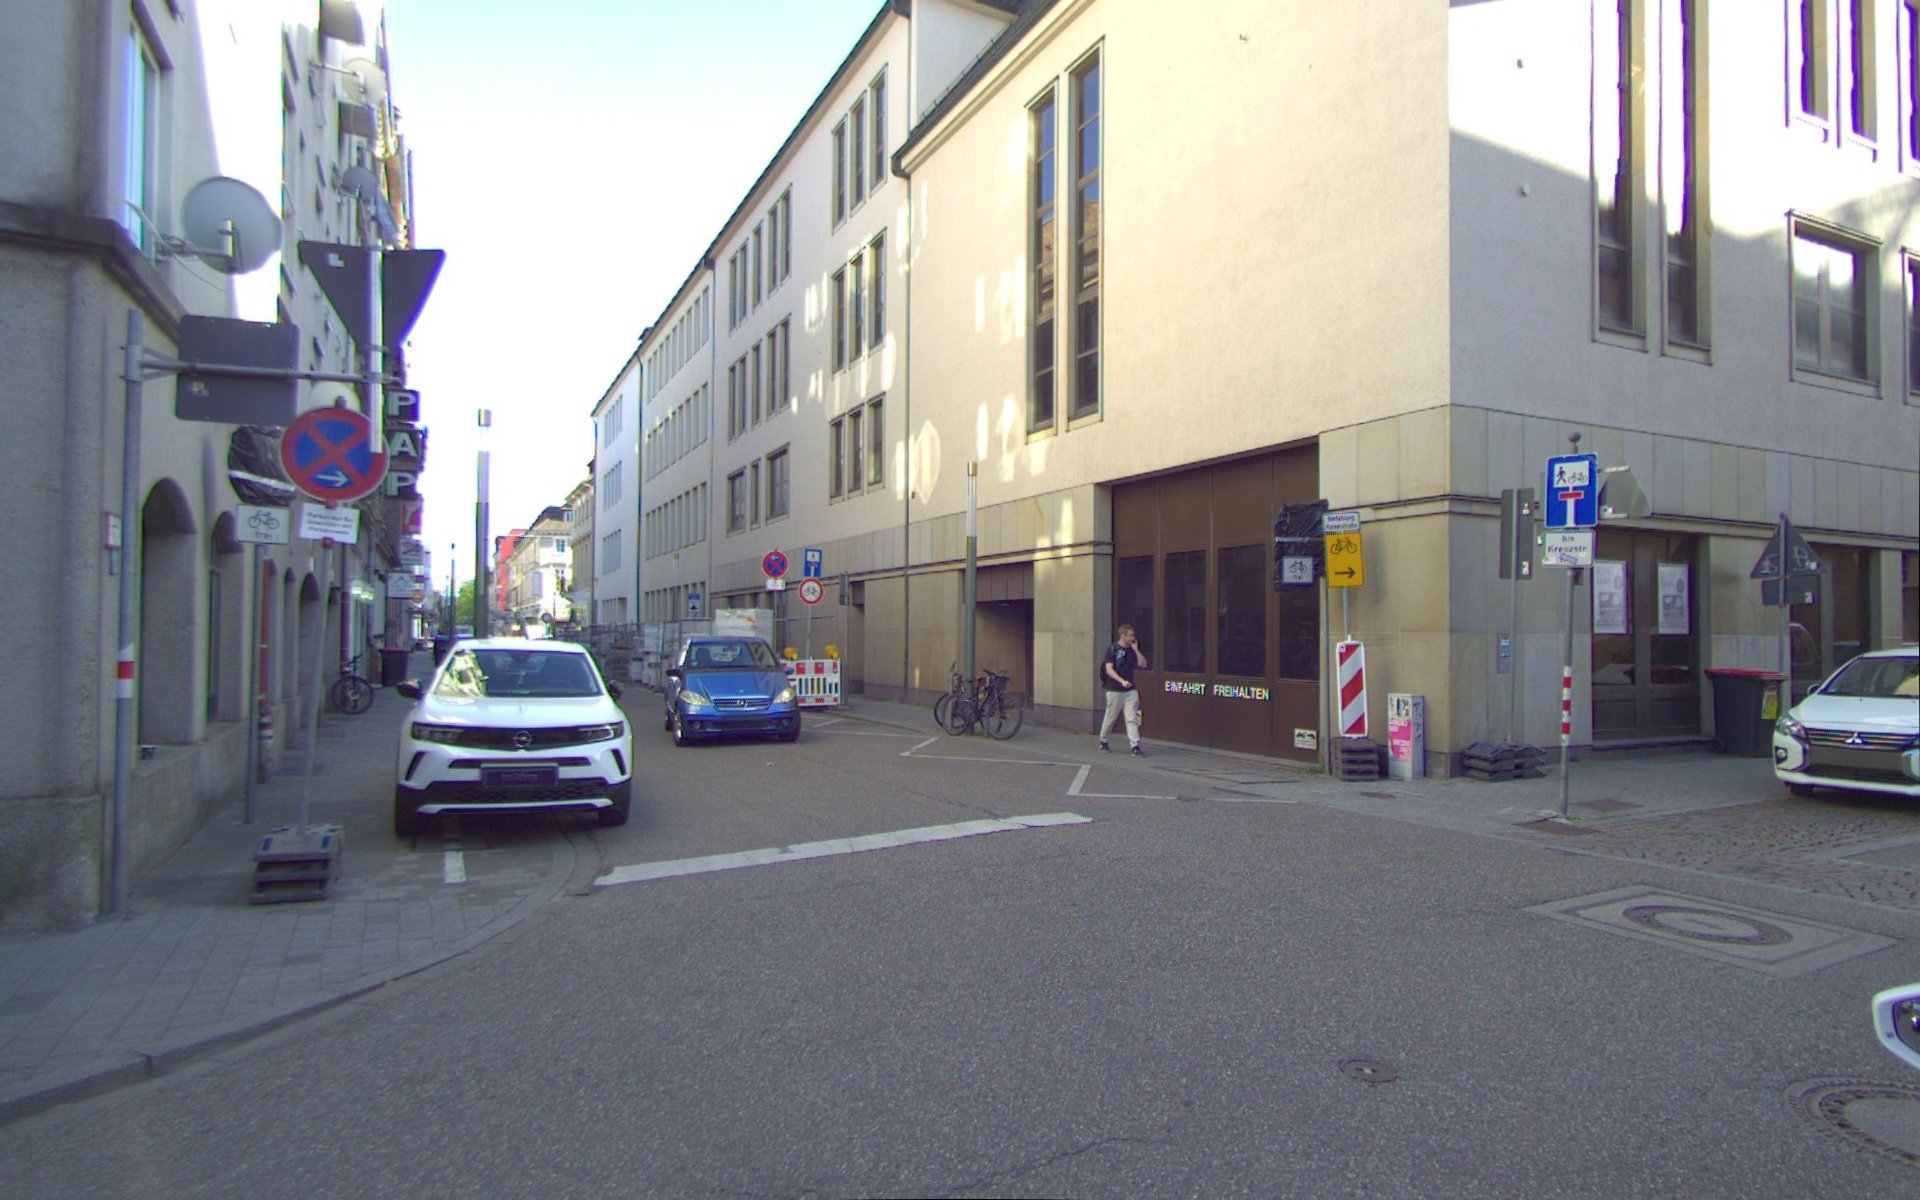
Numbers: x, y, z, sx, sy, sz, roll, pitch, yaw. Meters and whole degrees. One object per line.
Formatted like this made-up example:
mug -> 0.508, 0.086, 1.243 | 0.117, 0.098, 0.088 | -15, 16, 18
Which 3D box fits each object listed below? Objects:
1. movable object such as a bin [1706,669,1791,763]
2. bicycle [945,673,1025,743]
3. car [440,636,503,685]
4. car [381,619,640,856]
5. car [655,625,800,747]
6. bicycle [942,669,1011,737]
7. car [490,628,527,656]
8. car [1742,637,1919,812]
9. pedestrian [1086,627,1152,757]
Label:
movable object such as a bin -> 9.809, 1.426, 12.500 | 0.705, 1.075, 0.605 | 2, 1, -32
bicycle -> 0.373, 1.697, 15.991 | 0.223, 0.978, 1.680 | 1, -1, -39
car -> -15.246, 1.852, 31.465 | 1.659, 1.461, 3.561 | 1, -2, -25
car -> -4.032, 1.060, 9.313 | 1.738, 1.677, 3.980 | 1, -2, -22
car -> -3.804, 1.316, 15.979 | 1.737, 1.677, 3.982 | 1, -4, -21
bicycle -> 0.254, 1.683, 16.592 | 0.268, 1.017, 1.472 | 1, -1, -38
car -> -28.583, 2.629, 63.554 | 1.825, 1.690, 3.777 | 1, -2, -29
car -> 9.801, 1.152, 10.135 | 3.747, 1.526, 1.663 | 1, -3, -29
pedestrian -> 2.214, 1.250, 13.959 | 0.681, 1.725, 0.663 | 0, -1, 36
